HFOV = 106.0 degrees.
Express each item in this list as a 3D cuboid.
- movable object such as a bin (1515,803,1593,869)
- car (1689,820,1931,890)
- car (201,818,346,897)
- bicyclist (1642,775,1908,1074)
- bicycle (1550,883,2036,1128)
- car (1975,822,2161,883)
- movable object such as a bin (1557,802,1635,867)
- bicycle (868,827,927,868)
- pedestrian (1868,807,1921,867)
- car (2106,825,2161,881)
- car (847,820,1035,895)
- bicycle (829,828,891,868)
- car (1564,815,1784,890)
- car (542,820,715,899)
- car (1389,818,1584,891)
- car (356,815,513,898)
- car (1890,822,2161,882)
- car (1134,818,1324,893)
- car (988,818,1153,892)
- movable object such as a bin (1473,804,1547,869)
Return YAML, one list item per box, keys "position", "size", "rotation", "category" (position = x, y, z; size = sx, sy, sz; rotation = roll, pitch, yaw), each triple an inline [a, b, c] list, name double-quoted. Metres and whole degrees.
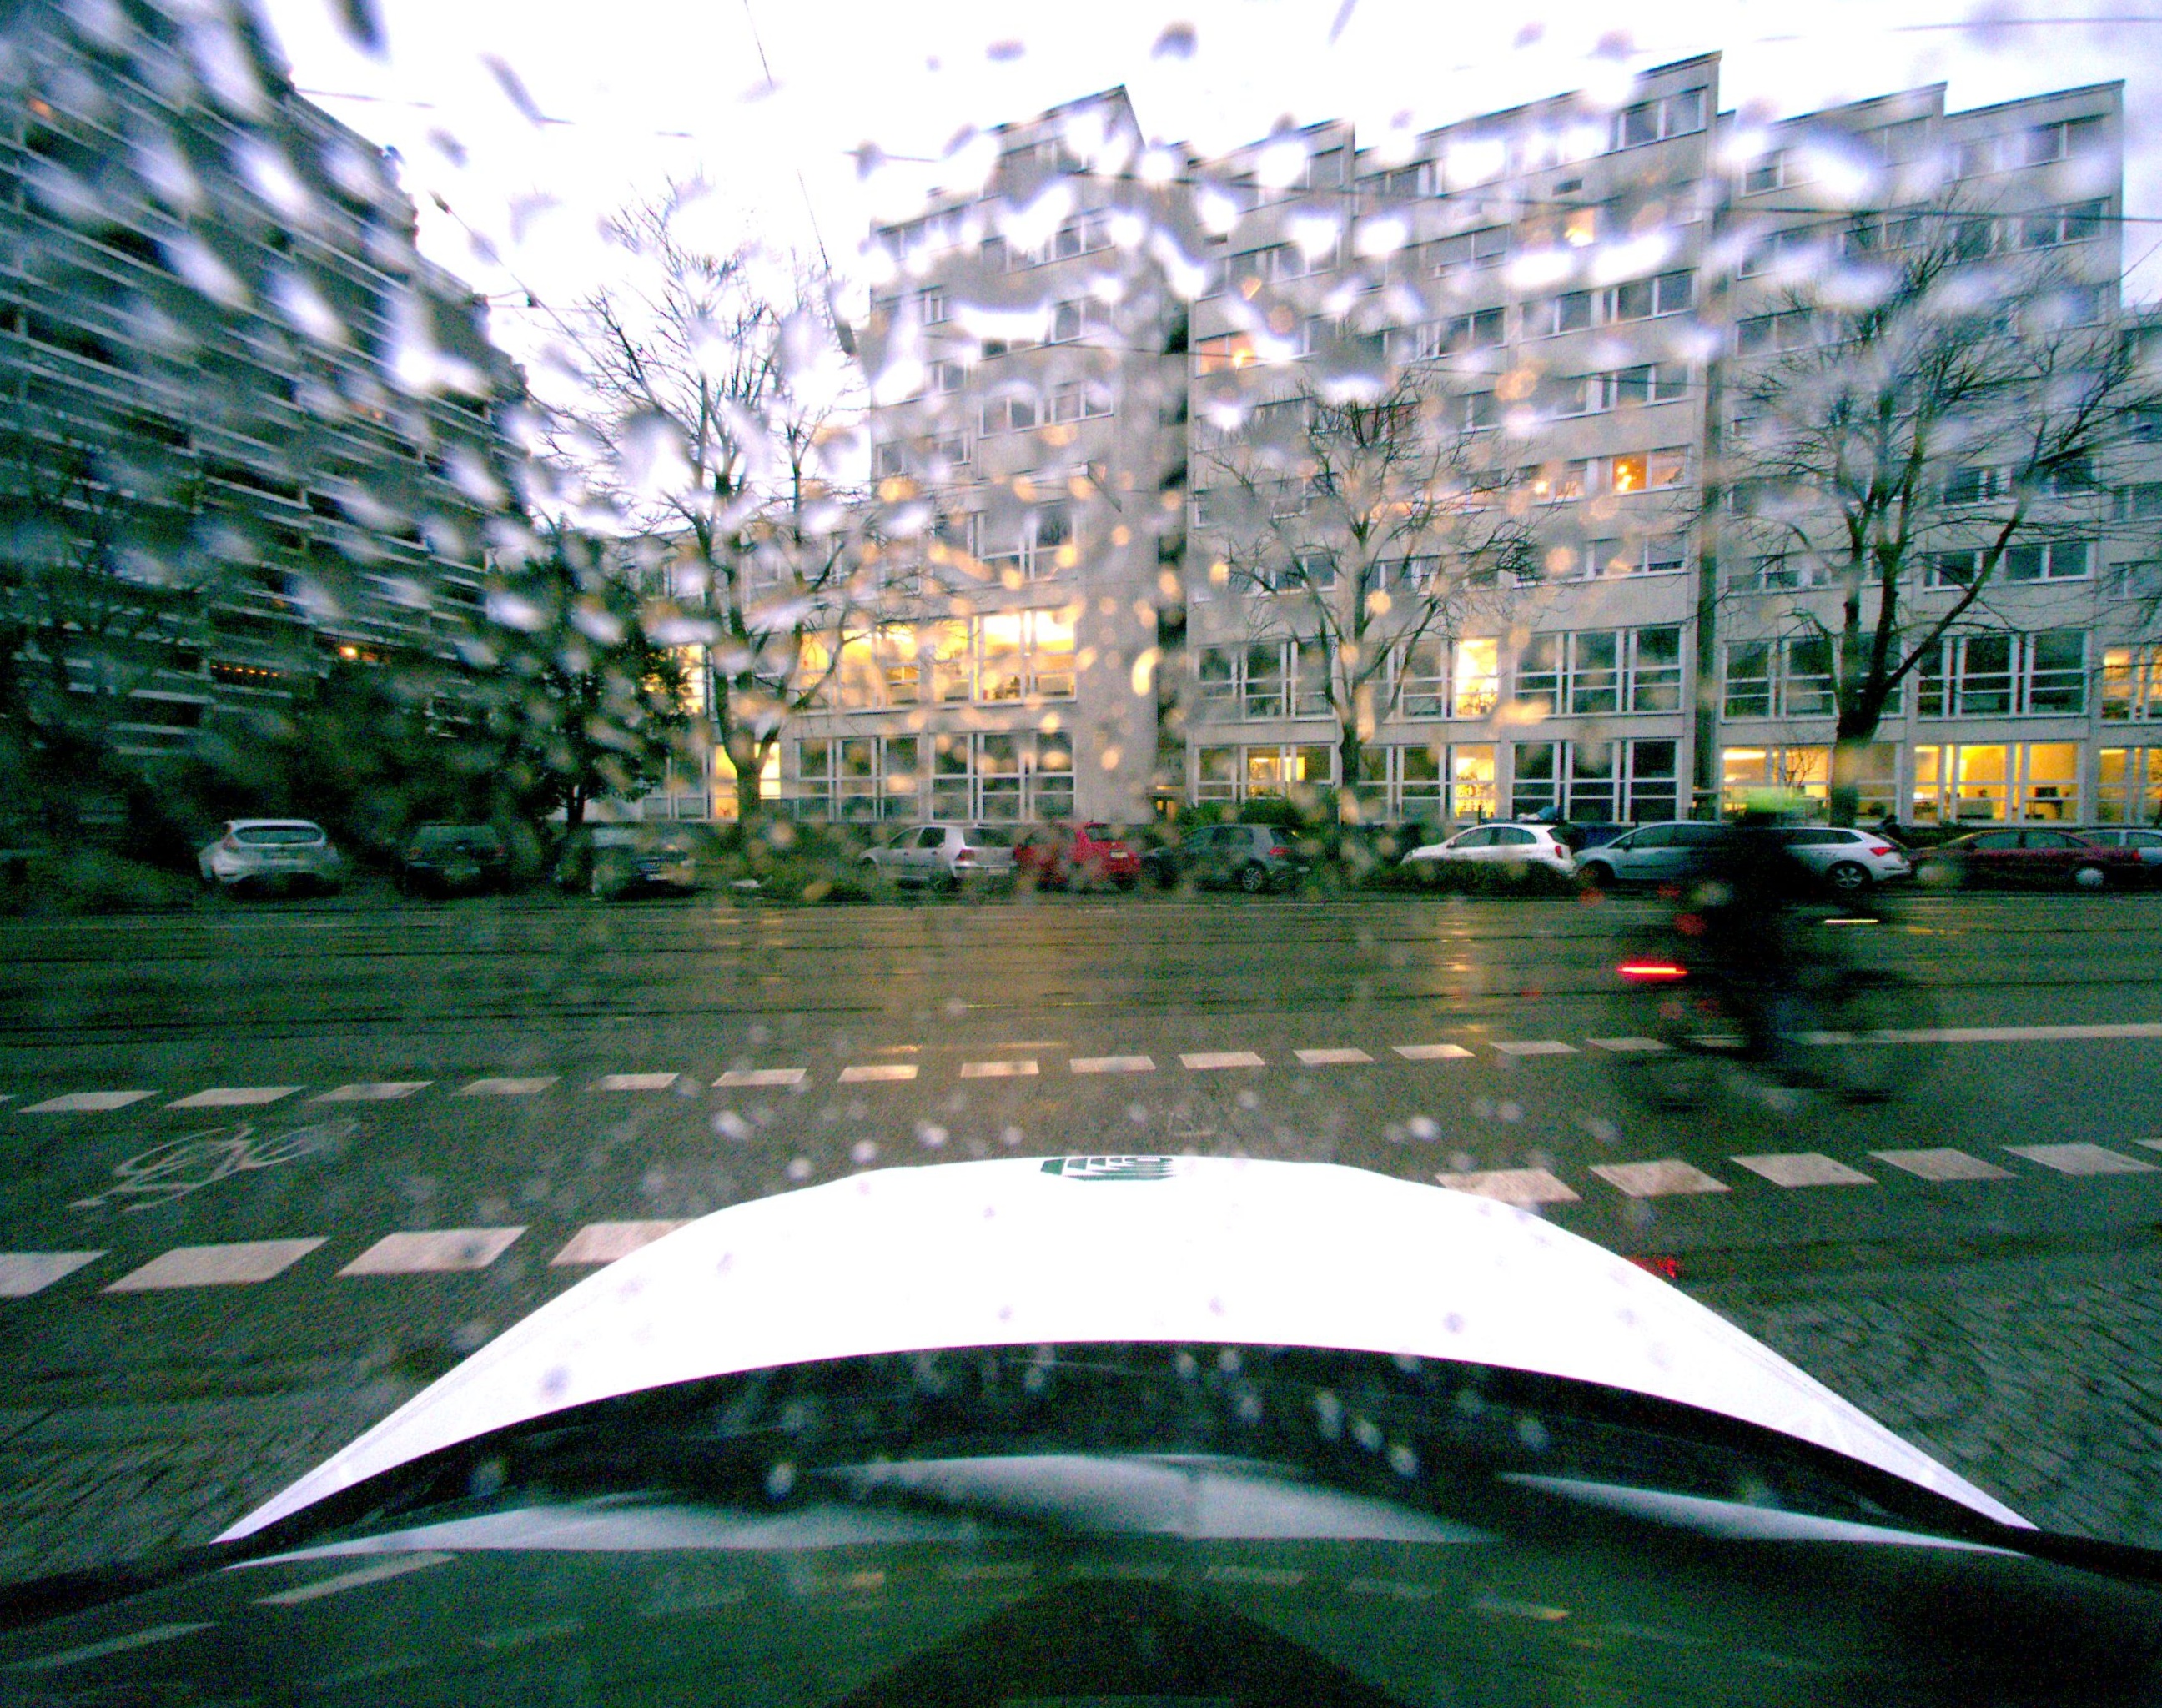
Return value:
- position: [14.186, -0.551, 24.482]
  size: [1.386, 1.859, 1.573]
  rotation: [-2, 2, -4]
  category: "movable object such as a bin"
- position: [16.822, -0.025, 18.964]
  size: [1.745, 1.443, 3.955]
  rotation: [0, 1, -38]
  category: "car"
- position: [-16.259, 0.002, 16.346]
  size: [3.950, 1.399, 1.867]
  rotation: [1, 3, 43]
  category: "car"
- position: [3.605, 0.331, 4.295]
  size: [0.844, 1.446, 0.657]
  rotation: [-1, 2, -3]
  category: "bicyclist"
- position: [3.681, 0.744, 4.315]
  size: [2.018, 1.096, 0.709]
  rotation: [-1, 2, -3]
  category: "bicycle"
- position: [25.901, -0.065, 20.878]
  size: [1.746, 1.463, 3.954]
  rotation: [-1, 1, -40]
  category: "car"
- position: [15.527, -0.595, 24.591]
  size: [1.311, 1.859, 1.573]
  rotation: [-2, 2, -4]
  category: "movable object such as a bin"
- position: [-5.336, -0.210, 23.800]
  size: [0.635, 1.120, 2.216]
  rotation: [0, 2, 17]
  category: "bicycle"
- position: [23.501, -0.495, 23.542]
  size: [0.968, 1.676, 0.598]
  rotation: [-1, 2, -6]
  category: "pedestrian"
- position: [29.525, -0.028, 20.838]
  size: [3.803, 1.423, 1.748]
  rotation: [1, 2, 39]
  category: "car"
- position: [-3.077, 0.014, 17.582]
  size: [3.949, 1.446, 1.804]
  rotation: [1, 2, 39]
  category: "car"
- position: [-6.515, -0.208, 24.136]
  size: [0.635, 1.120, 2.216]
  rotation: [0, 2, 17]
  category: "bicycle"
- position: [13.695, -0.089, 18.927]
  size: [3.950, 1.563, 1.747]
  rotation: [1, 3, 43]
  category: "car"
- position: [-9.159, 0.036, 16.369]
  size: [3.950, 1.378, 1.867]
  rotation: [1, 3, 43]
  category: "car"
- position: [9.514, -0.043, 19.246]
  size: [3.827, 1.551, 1.704]
  rotation: [1, 2, 40]
  category: "car"
- position: [-13.045, -0.017, 16.354]
  size: [3.950, 1.462, 1.867]
  rotation: [1, 3, 43]
  category: "car"
- position: [23.143, -0.077, 20.082]
  size: [4.292, 1.352, 1.761]
  rotation: [1, 1, 37]
  category: "car"
- position: [3.219, -0.030, 18.065]
  size: [3.805, 1.492, 1.707]
  rotation: [1, 3, 41]
  category: "car"
- position: [-0.280, -0.033, 18.123]
  size: [3.408, 1.492, 1.740]
  rotation: [1, 3, 43]
  category: "car"
- position: [12.801, -0.530, 24.345]
  size: [1.311, 1.859, 1.573]
  rotation: [-2, 2, -4]
  category: "movable object such as a bin"
